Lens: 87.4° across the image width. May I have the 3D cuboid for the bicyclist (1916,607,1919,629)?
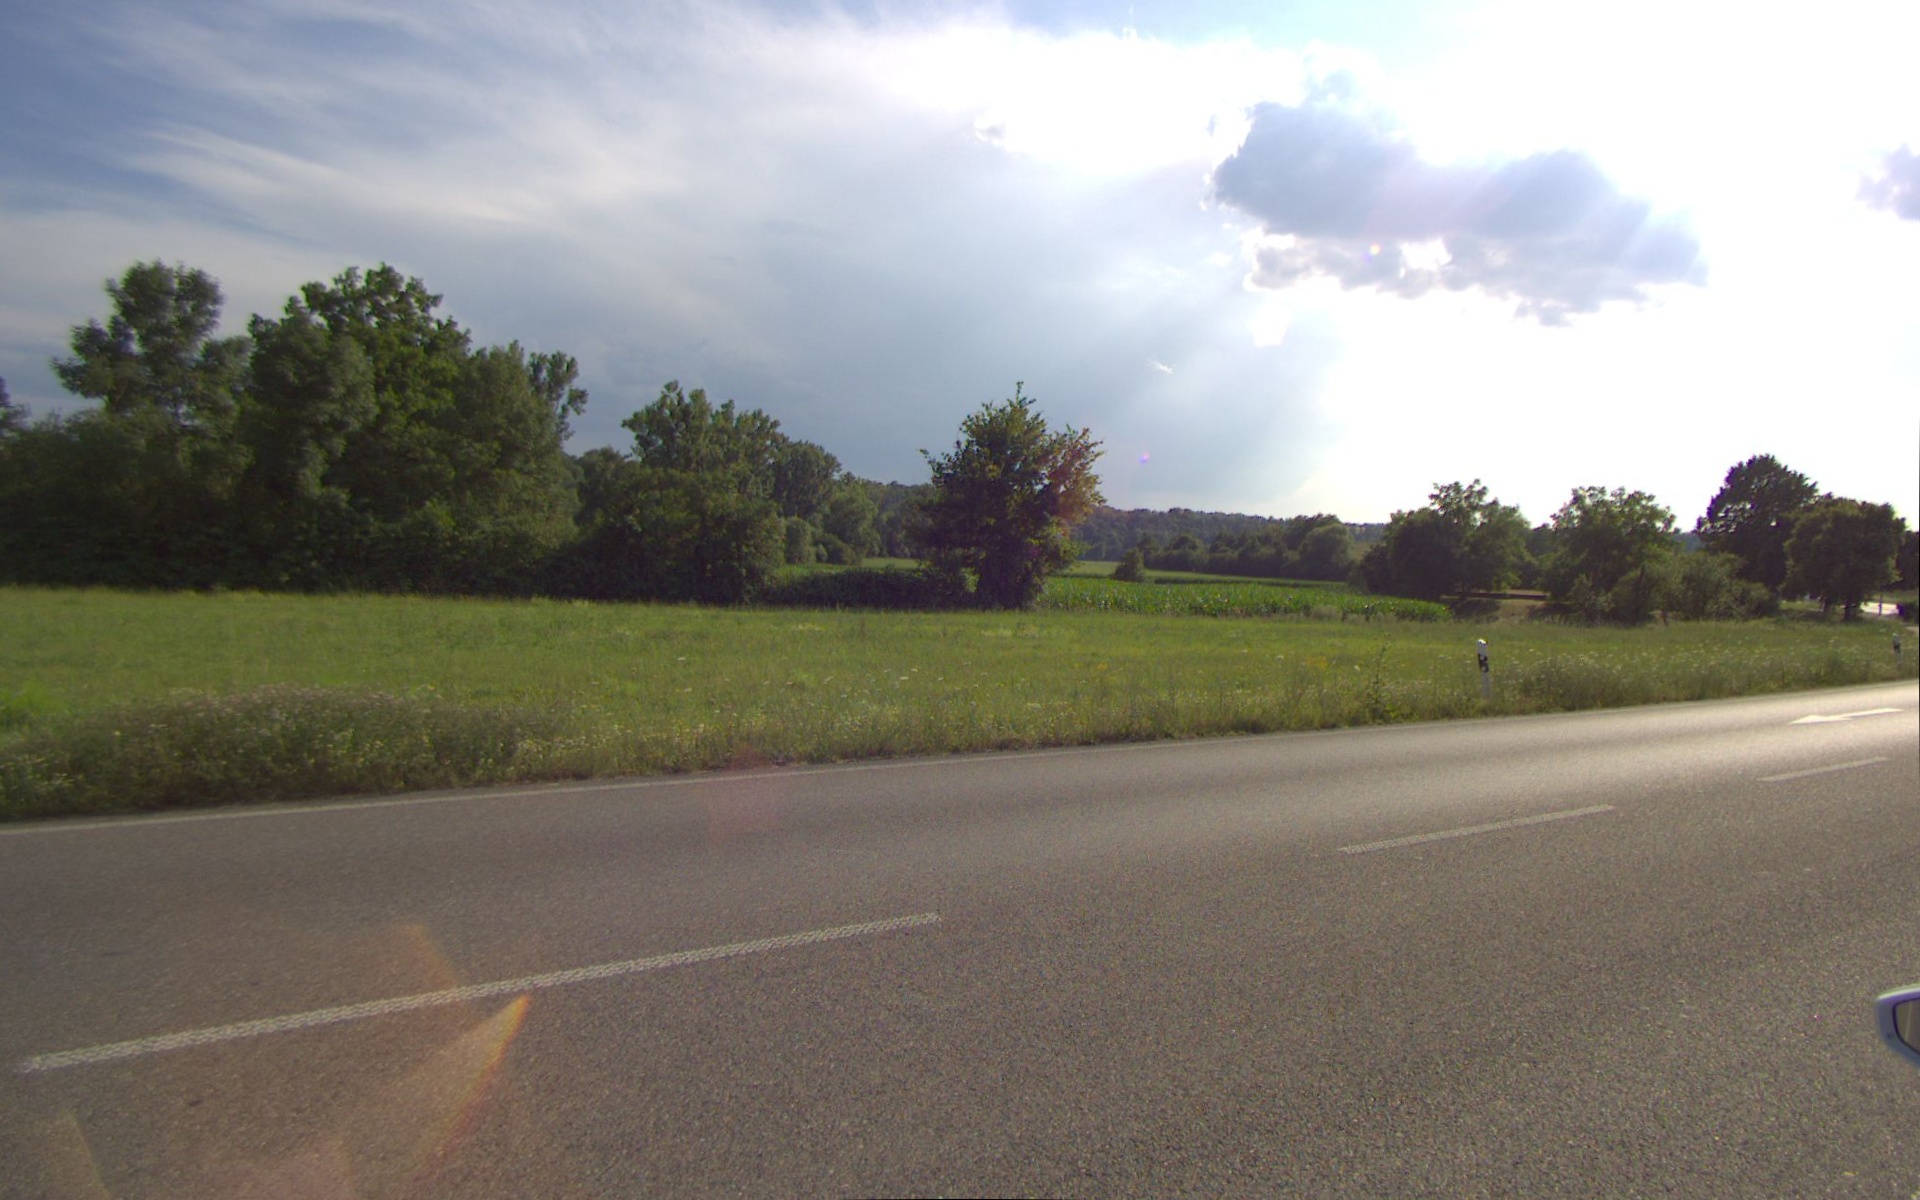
[{"bbox_3d":[63.030,1.194,65.658,0.685,1.439,0.630,1,2,-38],"label":"bicyclist"}]

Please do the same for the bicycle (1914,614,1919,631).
[{"bbox_3d":[63.079,1.511,65.730,1.656,1.089,0.630,1,2,-39],"label":"bicycle"}]
